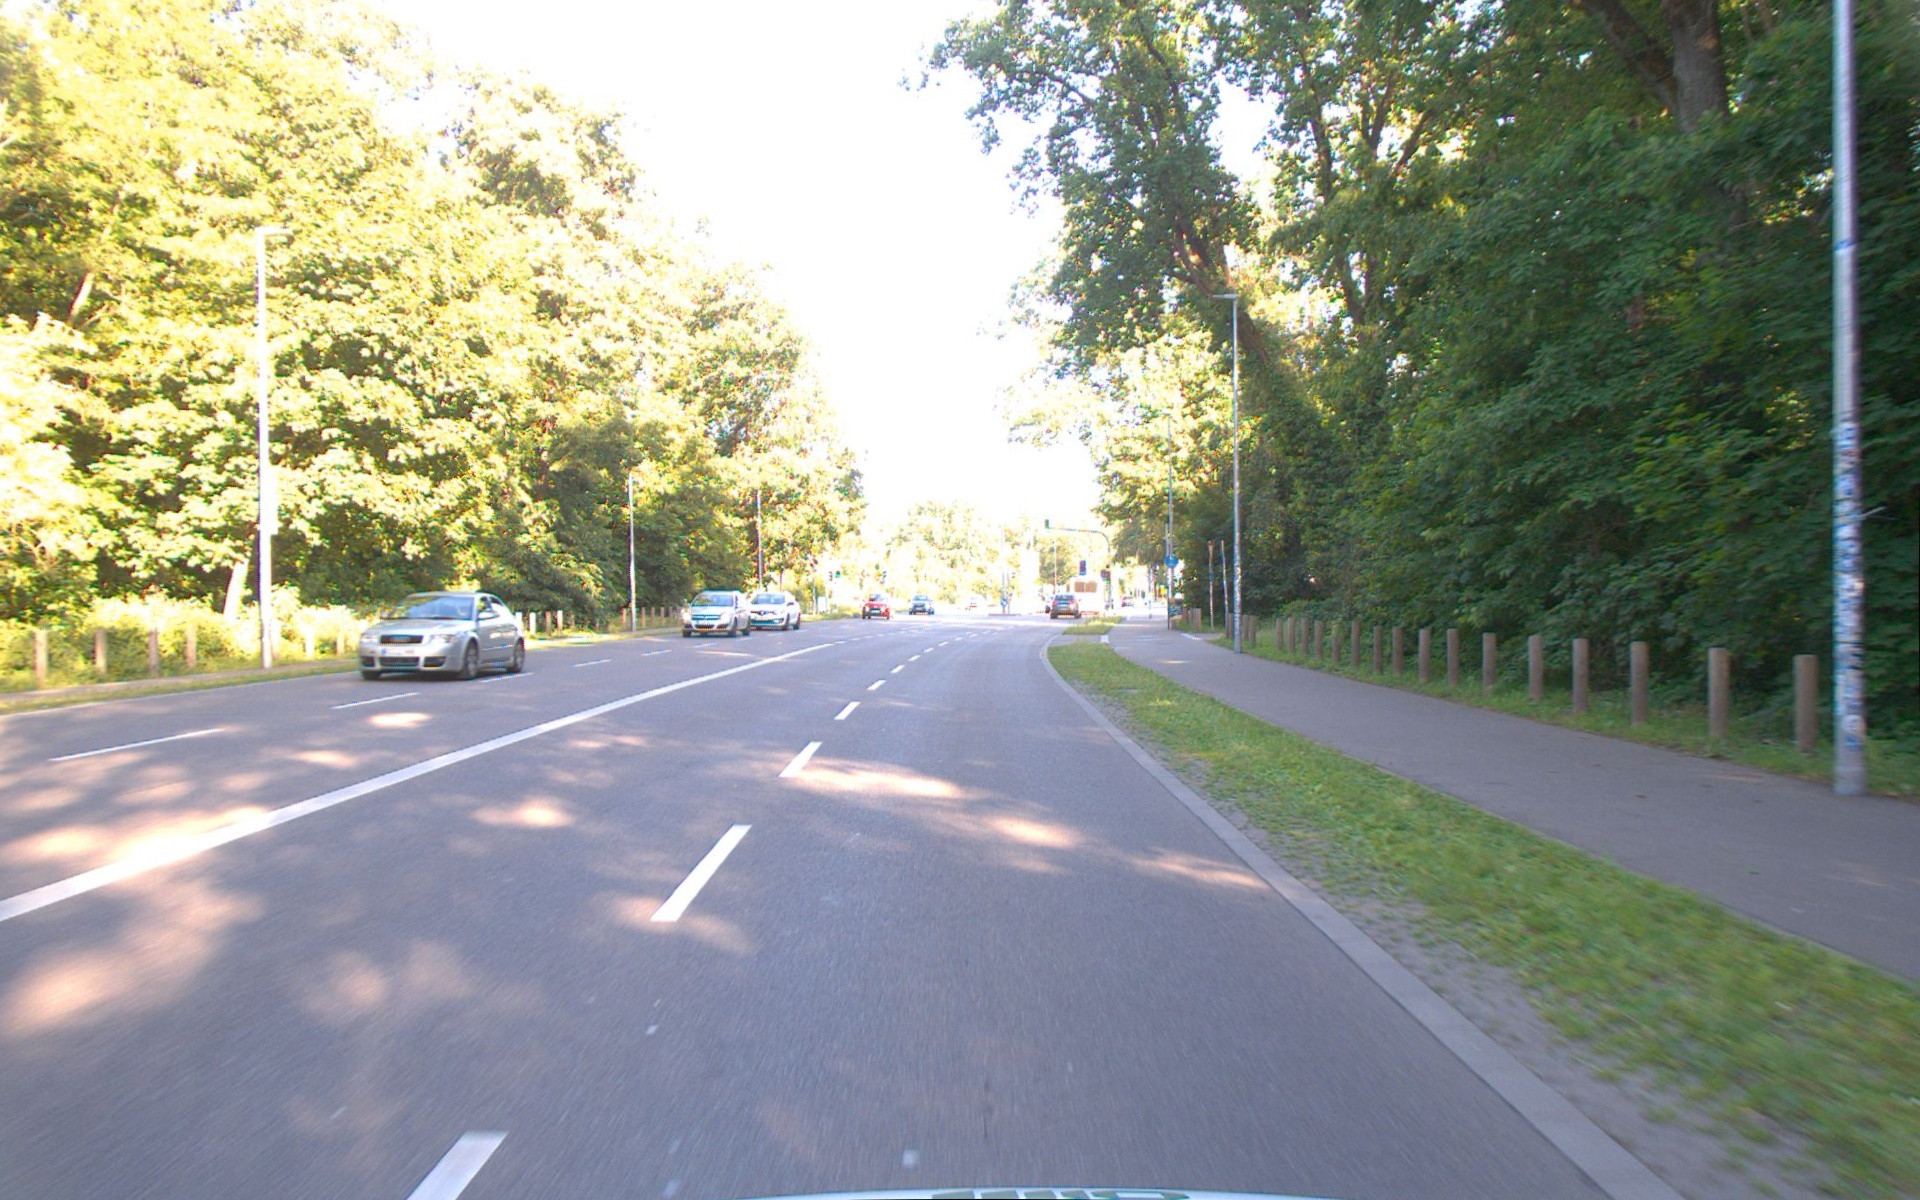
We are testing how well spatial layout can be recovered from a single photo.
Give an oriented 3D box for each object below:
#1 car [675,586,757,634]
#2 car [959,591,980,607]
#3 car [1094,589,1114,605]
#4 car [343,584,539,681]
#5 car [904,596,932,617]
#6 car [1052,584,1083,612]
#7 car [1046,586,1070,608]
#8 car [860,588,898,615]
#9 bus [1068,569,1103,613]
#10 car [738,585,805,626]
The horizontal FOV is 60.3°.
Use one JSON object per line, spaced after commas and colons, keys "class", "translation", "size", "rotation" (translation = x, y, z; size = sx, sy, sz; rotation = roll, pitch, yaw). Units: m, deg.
{"class": "car", "translation": [-7.929, 0.308, 54.091], "size": [1.742, 1.489, 4.276], "rotation": [1, 0, 4]}
{"class": "car", "translation": [0.989, -0.118, 162.874], "size": [1.674, 1.489, 4.103], "rotation": [1, 0, 6]}
{"class": "car", "translation": [15.904, -0.377, 182.209], "size": [1.823, 1.713, 3.776], "rotation": [-1, 0, 10]}
{"class": "car", "translation": [-8.426, 0.471, 27.232], "size": [1.742, 1.433, 4.167], "rotation": [0, 1, 3]}
{"class": "car", "translation": [-3.154, 0.486, 124.425], "size": [1.620, 1.534, 4.002], "rotation": [-1, 0, 5]}
{"class": "car", "translation": [7.167, -0.176, 109.698], "size": [1.840, 1.796, 4.003], "rotation": [-1, 0, 6]}
{"class": "car", "translation": [8.580, -0.276, 145.030], "size": [1.840, 1.796, 4.003], "rotation": [-1, 0, 6]}
{"class": "car", "translation": [-4.809, 0.066, 98.440], "size": [1.627, 1.544, 3.810], "rotation": [-1, 0, 7]}
{"class": "bus", "translation": [10.263, -0.744, 134.709], "size": [2.550, 3.427, 7.981], "rotation": [0, 1, 6]}
{"class": "car", "translation": [-7.280, 0.191, 64.292], "size": [1.745, 1.549, 4.401], "rotation": [0, 0, 5]}
